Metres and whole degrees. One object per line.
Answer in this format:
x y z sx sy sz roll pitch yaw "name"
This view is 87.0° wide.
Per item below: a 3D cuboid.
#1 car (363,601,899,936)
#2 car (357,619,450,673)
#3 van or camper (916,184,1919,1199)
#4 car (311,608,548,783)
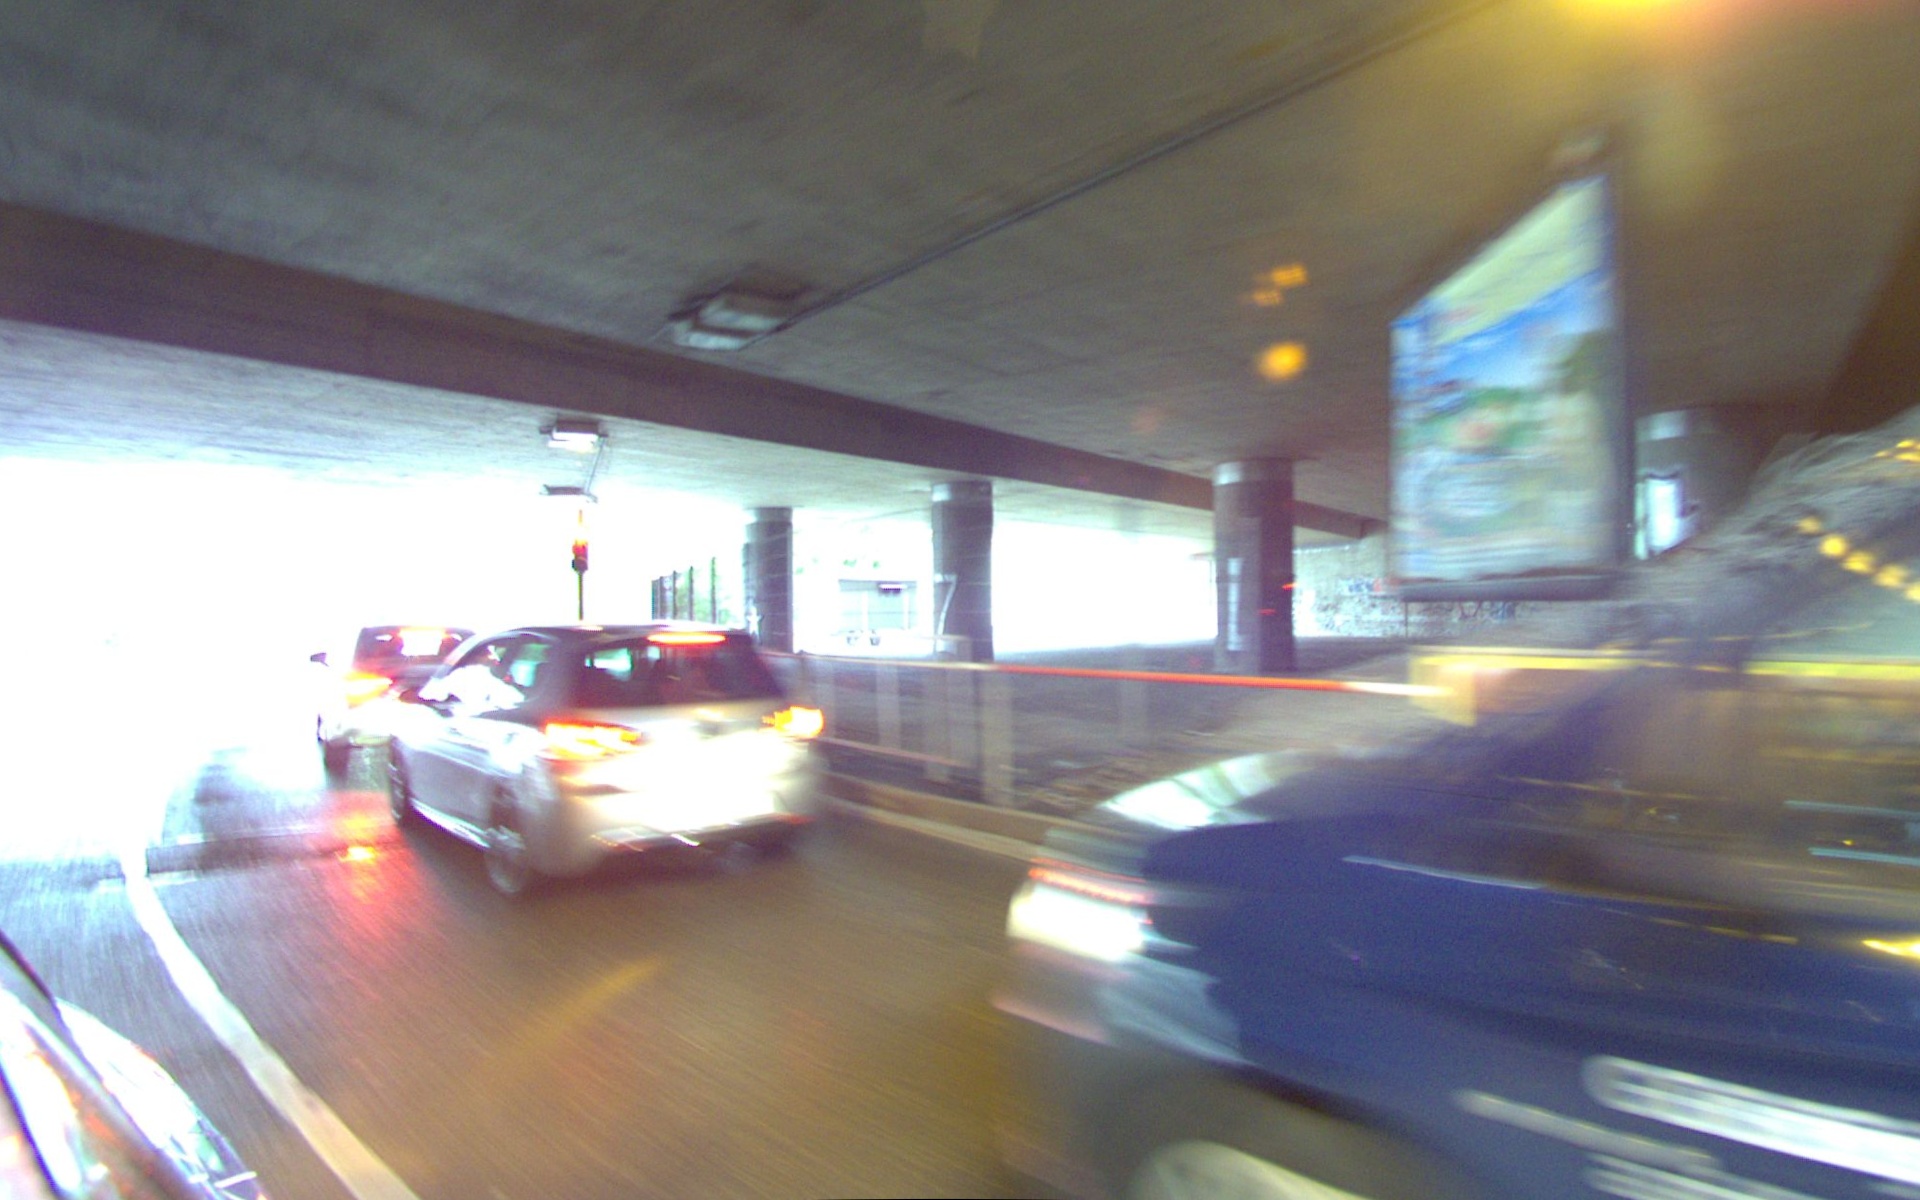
-2.419 0.768 6.681 1.968 1.476 4.112 1 -1 -40 "car"
-17.313 1.441 31.642 1.679 1.569 4.011 0 -3 -16 "car"
2.477 0.481 1.197 5.136 1.882 1.973 0 -1 41 "van or camper"
-6.114 0.863 11.399 1.966 1.541 4.513 0 0 -32 "car"
